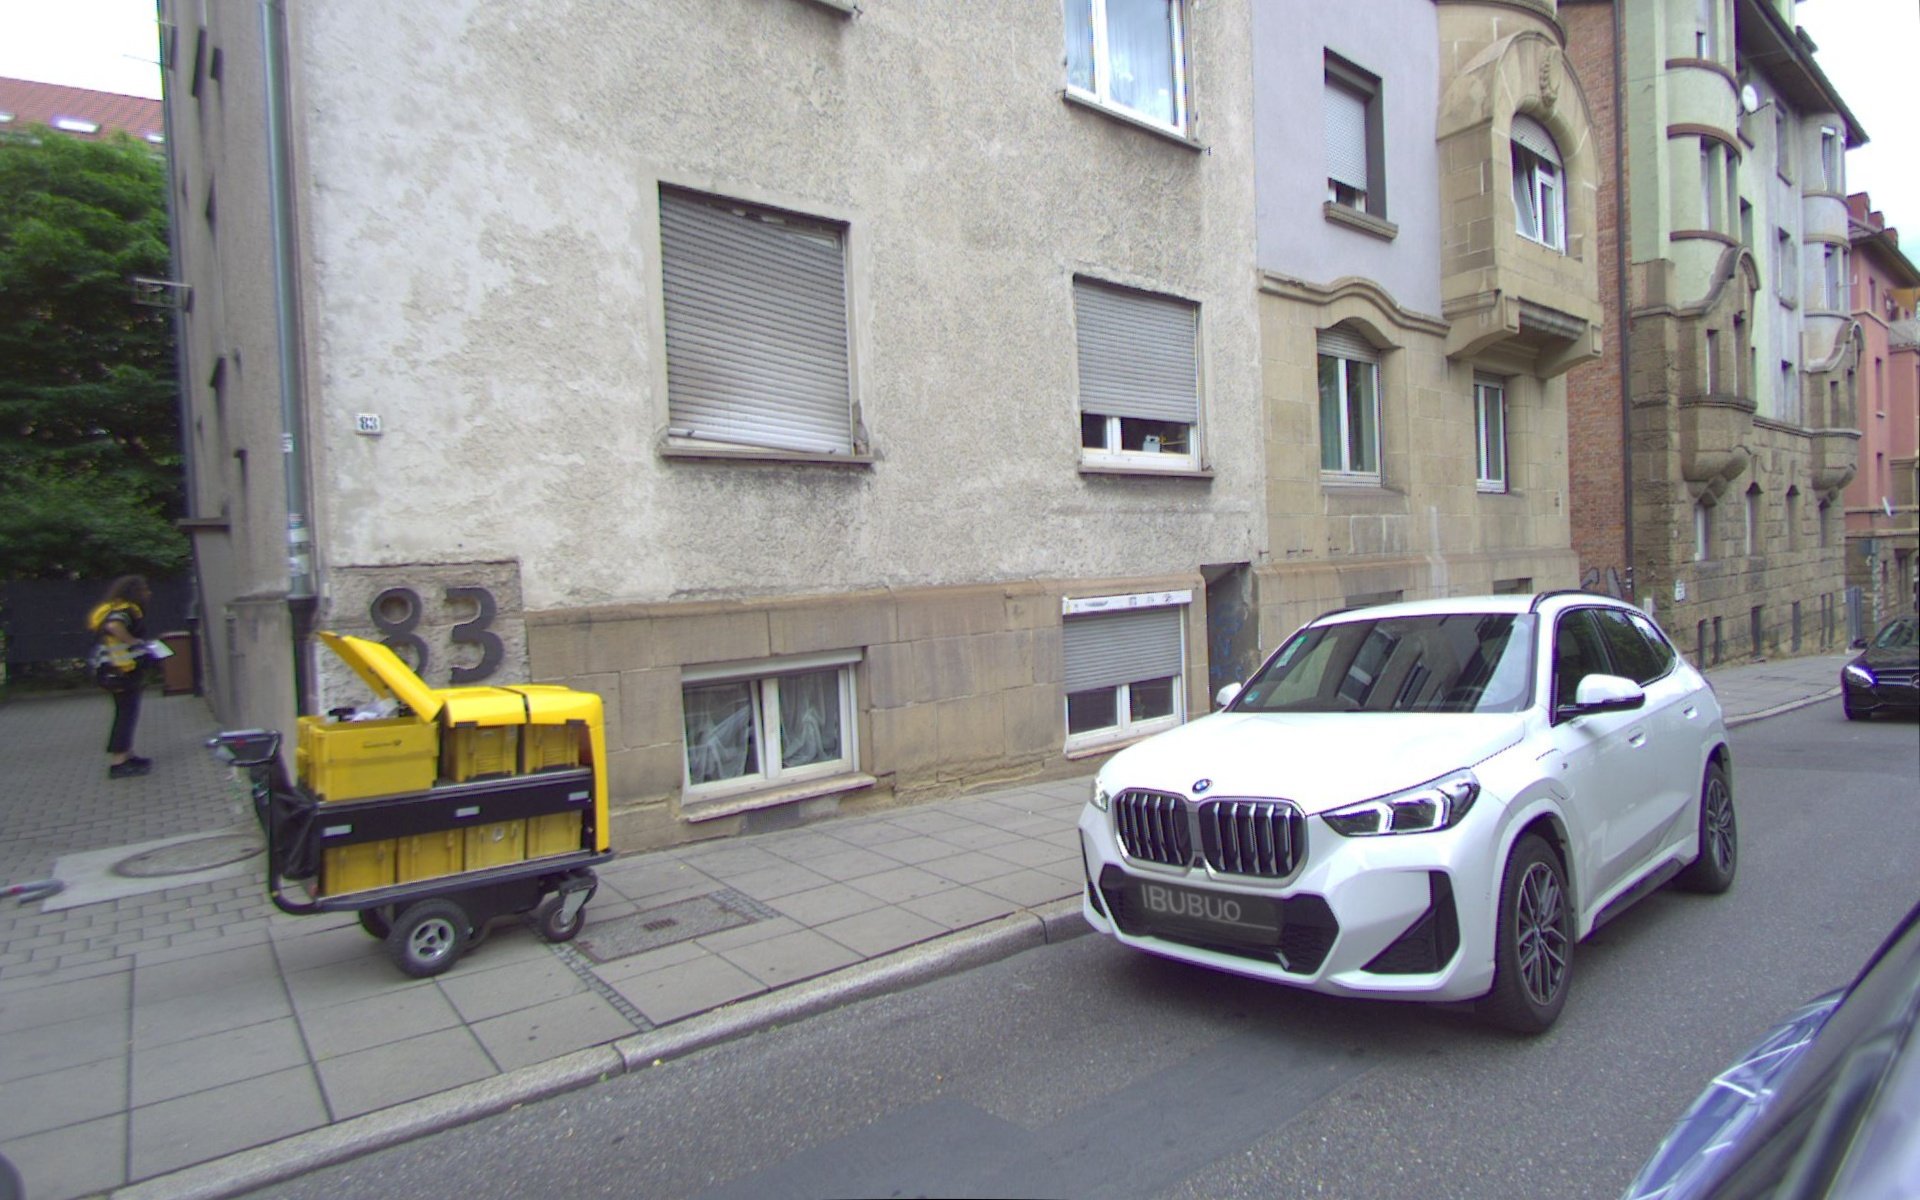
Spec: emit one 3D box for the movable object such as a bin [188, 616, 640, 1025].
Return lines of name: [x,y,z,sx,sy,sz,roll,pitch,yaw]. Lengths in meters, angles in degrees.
movable object such as a bin: [-2.397,0.829,4.566,1.664,1.438,0.720,-2,1,-42]

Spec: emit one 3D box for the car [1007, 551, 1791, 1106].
car: [2.527,0.729,5.180,4.483,1.626,1.851,0,-4,-41]

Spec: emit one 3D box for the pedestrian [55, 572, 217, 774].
pedestrian: [-7.318,0.614,9.031,0.729,1.681,0.765,-3,2,-6]

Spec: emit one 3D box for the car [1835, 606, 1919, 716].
car: [13.907,0.754,13.914,4.201,1.387,1.854,0,-3,-36]
